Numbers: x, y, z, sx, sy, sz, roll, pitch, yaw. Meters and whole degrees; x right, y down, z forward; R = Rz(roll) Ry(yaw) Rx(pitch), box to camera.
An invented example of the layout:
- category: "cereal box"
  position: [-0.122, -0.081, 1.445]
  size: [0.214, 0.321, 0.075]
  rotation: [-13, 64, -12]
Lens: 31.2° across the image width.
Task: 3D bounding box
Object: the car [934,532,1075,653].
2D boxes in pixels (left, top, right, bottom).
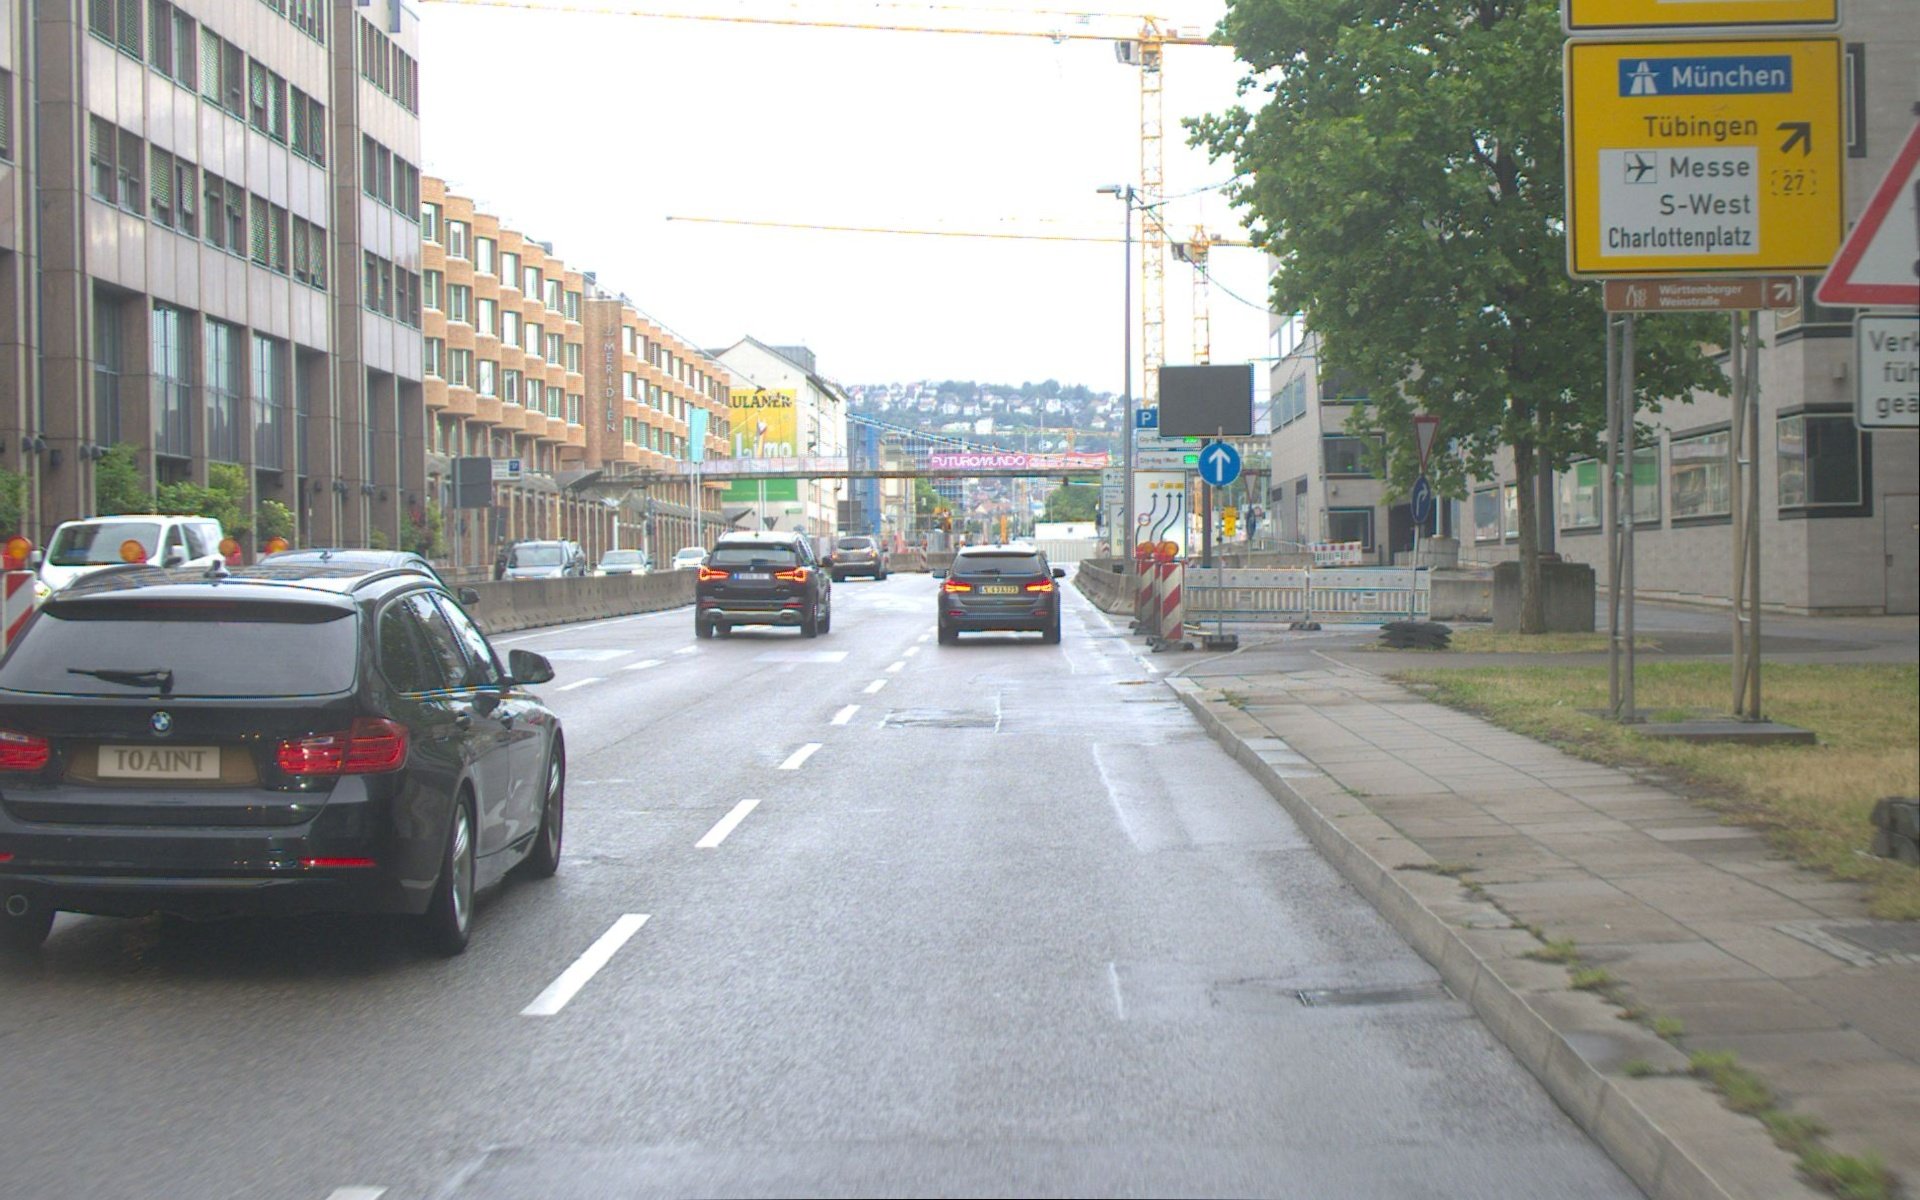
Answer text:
- category: "car"
  position: [0.699, -0.134, 51.168]
  size: [1.900, 1.687, 4.000]
  rotation: [-1, 1, 3]

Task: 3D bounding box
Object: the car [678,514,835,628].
- category: "car"
  position: [-3.163, -0.468, 54.190]
  size: [1.900, 1.687, 3.999]
  rotation: [-1, 1, 4]

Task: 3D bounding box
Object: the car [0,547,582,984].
- category: "car"
  position: [-2.650, 0.520, 13.783]
  size: [1.791, 1.421, 4.613]
  rotation: [1, 1, -1]

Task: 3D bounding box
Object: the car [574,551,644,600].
- category: "car"
  position: [-11.567, -0.819, 113.485]
  size: [1.860, 1.528, 4.231]
  rotation: [-1, 1, 0]

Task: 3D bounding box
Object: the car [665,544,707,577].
- category: "car"
  position: [-13.128, -1.909, 164.844]
  size: [1.602, 1.437, 3.658]
  rotation: [-1, 2, 1]

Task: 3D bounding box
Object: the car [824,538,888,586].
- category: "car"
  position: [-3.792, -1.406, 125.859]
  size: [1.900, 1.687, 3.999]
  rotation: [-1, 1, 4]

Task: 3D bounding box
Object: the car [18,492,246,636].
- category: "car"
  position: [-12.271, -0.538, 51.298]
  size: [1.993, 1.983, 5.289]
  rotation: [-1, 1, 1]

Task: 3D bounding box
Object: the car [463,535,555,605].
- category: "car"
  position: [-11.911, -0.808, 90.976]
  size: [1.721, 1.764, 4.425]
  rotation: [-1, 1, 1]

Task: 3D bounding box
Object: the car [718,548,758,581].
- category: "car"
  position: [-11.922, -1.917, 184.579]
  size: [1.820, 1.613, 4.192]
  rotation: [-1, 2, 0]

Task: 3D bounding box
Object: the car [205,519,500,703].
- category: "car"
  position: [-5.122, 0.064, 29.507]
  size: [1.790, 1.421, 4.385]
  rotation: [-1, 1, -1]

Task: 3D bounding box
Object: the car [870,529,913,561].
- category: "car"
  position: [-3.577, -2.863, 180.634]
  size: [1.993, 1.614, 4.763]
  rotation: [-1, 1, 2]
